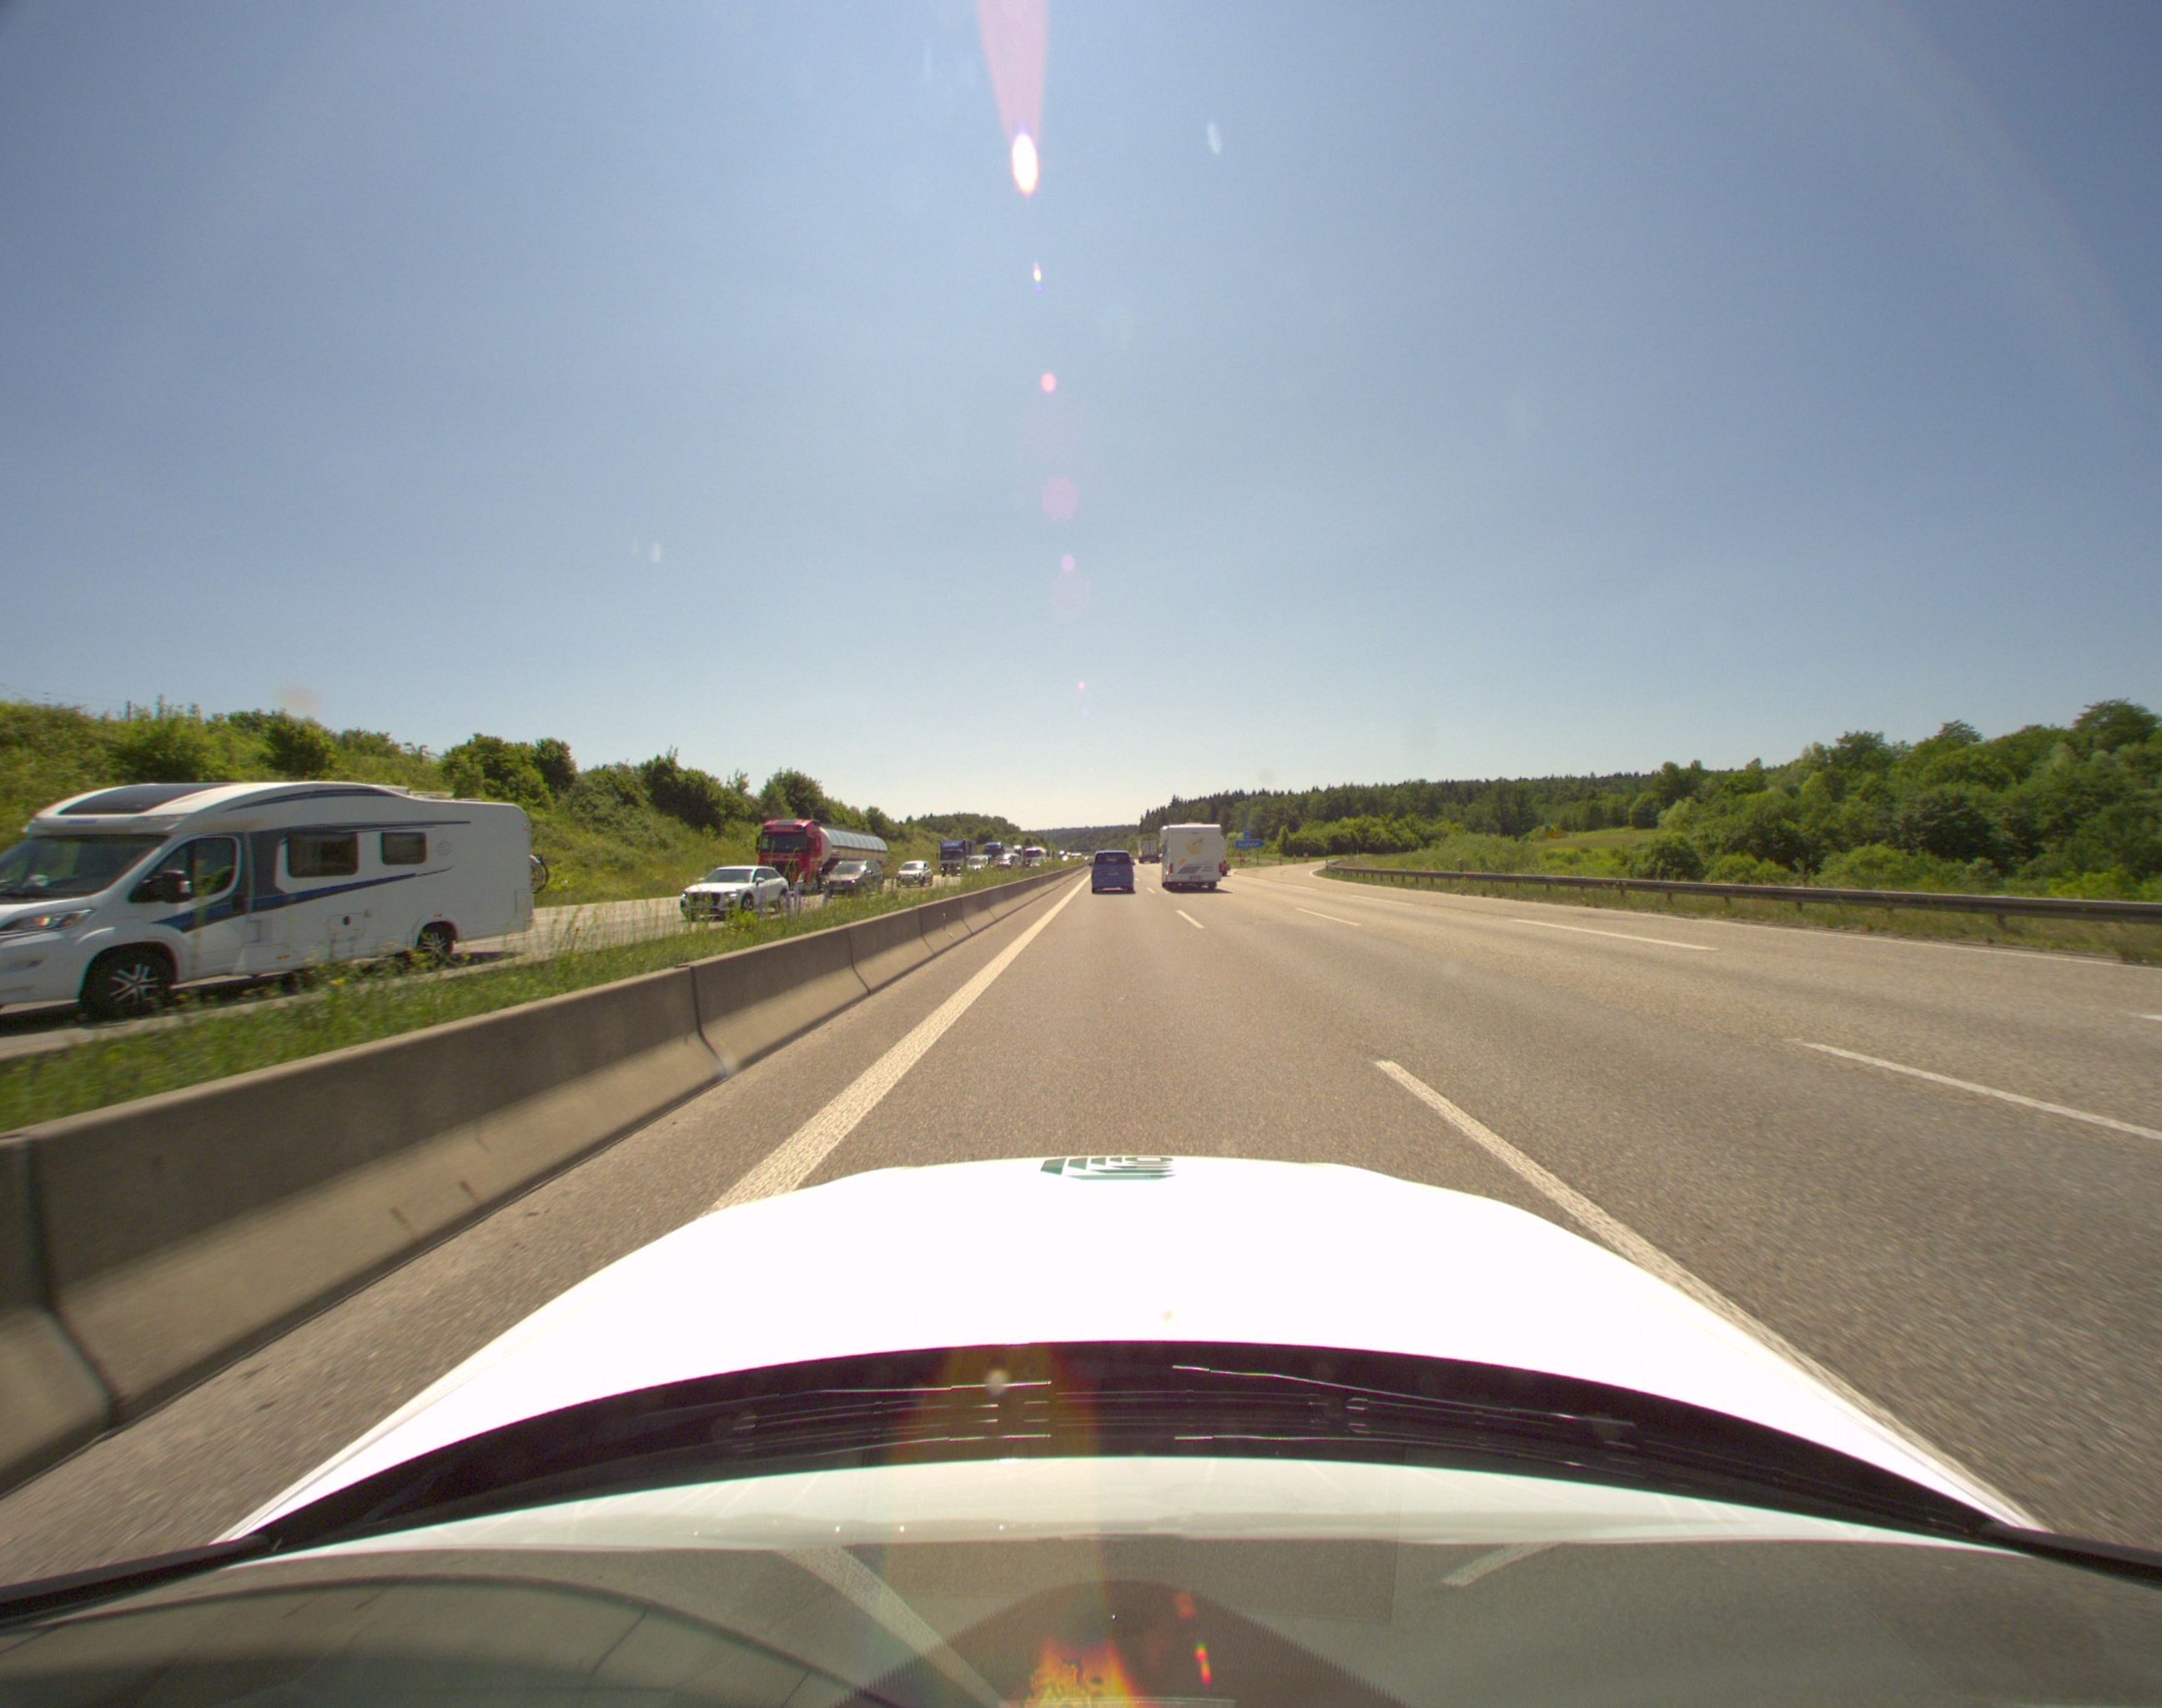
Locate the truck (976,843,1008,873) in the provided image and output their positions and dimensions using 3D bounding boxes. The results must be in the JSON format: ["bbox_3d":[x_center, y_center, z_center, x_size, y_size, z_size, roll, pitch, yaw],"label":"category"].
[{"bbox_3d":[-12.121,0.607,111.822,3.477,4.037,6.646,0,-1,2],"label":"truck"}]

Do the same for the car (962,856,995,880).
[{"bbox_3d":[-8.958,1.243,71.690,2.016,1.958,5.096,-1,-1,2],"label":"car"}]

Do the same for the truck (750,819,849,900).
[{"bbox_3d":[-14.217,0.293,41.660,2.772,3.824,6.034,0,-1,2],"label":"truck"}]

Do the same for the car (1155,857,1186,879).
[{"bbox_3d":[6.474,0.978,59.074,1.902,1.475,4.002,-1,0,2],"label":"car"}]

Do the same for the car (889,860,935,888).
[{"bbox_3d":[-10.269,1.193,49.762,1.747,1.550,4.190,4,-1,2],"label":"car"}]

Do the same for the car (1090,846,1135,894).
[{"bbox_3d":[1.446,0.682,37.154,1.902,2.013,4.002,-1,0,2],"label":"car"}]

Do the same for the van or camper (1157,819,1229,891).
[{"bbox_3d":[5.097,0.090,38.192,2.593,3.079,7.184,0,-1,2],"label":"van or camper"}]

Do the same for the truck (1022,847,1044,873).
[{"bbox_3d":[-7.498,0.970,128.453,2.608,3.890,7.405,-2,-1,2],"label":"truck"}]

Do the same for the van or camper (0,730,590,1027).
[{"bbox_3d":[-11.266,0.317,12.161,2.534,2.937,8.137,-1,-1,3],"label":"van or camper"}]

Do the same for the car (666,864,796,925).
[{"bbox_3d":[-10.328,1.137,24.457,1.875,1.627,4.360,-1,-1,2],"label":"car"}]

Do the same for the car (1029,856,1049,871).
[{"bbox_3d":[-4.639,1.055,90.101,1.747,1.584,4.856,-1,-1,2],"label":"car"}]

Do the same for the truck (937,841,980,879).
[{"bbox_3d":[-12.651,0.622,84.678,2.535,3.675,9.941,-1,-1,2],"label":"truck"}]

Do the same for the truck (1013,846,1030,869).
[{"bbox_3d":[-10.410,0.675,142.794,2.079,4.029,7.881,0,-1,2],"label":"truck"}]

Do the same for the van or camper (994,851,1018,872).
[{"bbox_3d":[-8.533,0.860,92.762,1.986,2.153,5.956,-3,-1,1],"label":"van or camper"}]

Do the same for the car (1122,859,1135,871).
[{"bbox_3d":[7.173,1.633,122.425,1.811,1.794,3.895,0,-1,2],"label":"car"}]

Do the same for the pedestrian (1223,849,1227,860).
[{"bbox_3d":[27.097,0.169,153.442,0.685,2.080,0.928,0,-1,2],"label":"pedestrian"}]

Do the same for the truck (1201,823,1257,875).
[{"bbox_3d":[11.085,-0.400,61.840,2.916,3.575,8.531,-2,0,2],"label":"truck"}]

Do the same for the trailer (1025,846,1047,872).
[{"bbox_3d":[-7.356,0.773,134.605,2.670,3.949,11.647,-4,0,1],"label":"trailer"}]

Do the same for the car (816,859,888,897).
[{"bbox_3d":[-10.359,1.060,37.198,1.747,1.584,4.787,-1,-1,2],"label":"car"}]

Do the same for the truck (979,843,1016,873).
[{"bbox_3d":[-11.977,0.546,118.283,3.565,4.093,12.584,-1,0,2],"label":"truck"}]

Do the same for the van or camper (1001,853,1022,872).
[{"bbox_3d":[-8.343,1.022,98.320,1.986,2.153,4.718,-3,-1,1],"label":"van or camper"}]

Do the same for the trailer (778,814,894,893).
[{"bbox_3d":[-14.064,0.011,48.230,2.670,3.950,12.276,-4,0,1],"label":"trailer"}]

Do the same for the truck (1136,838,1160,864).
[{"bbox_3d":[11.096,-0.496,135.962,3.474,4.170,8.644,0,-1,2],"label":"truck"}]
